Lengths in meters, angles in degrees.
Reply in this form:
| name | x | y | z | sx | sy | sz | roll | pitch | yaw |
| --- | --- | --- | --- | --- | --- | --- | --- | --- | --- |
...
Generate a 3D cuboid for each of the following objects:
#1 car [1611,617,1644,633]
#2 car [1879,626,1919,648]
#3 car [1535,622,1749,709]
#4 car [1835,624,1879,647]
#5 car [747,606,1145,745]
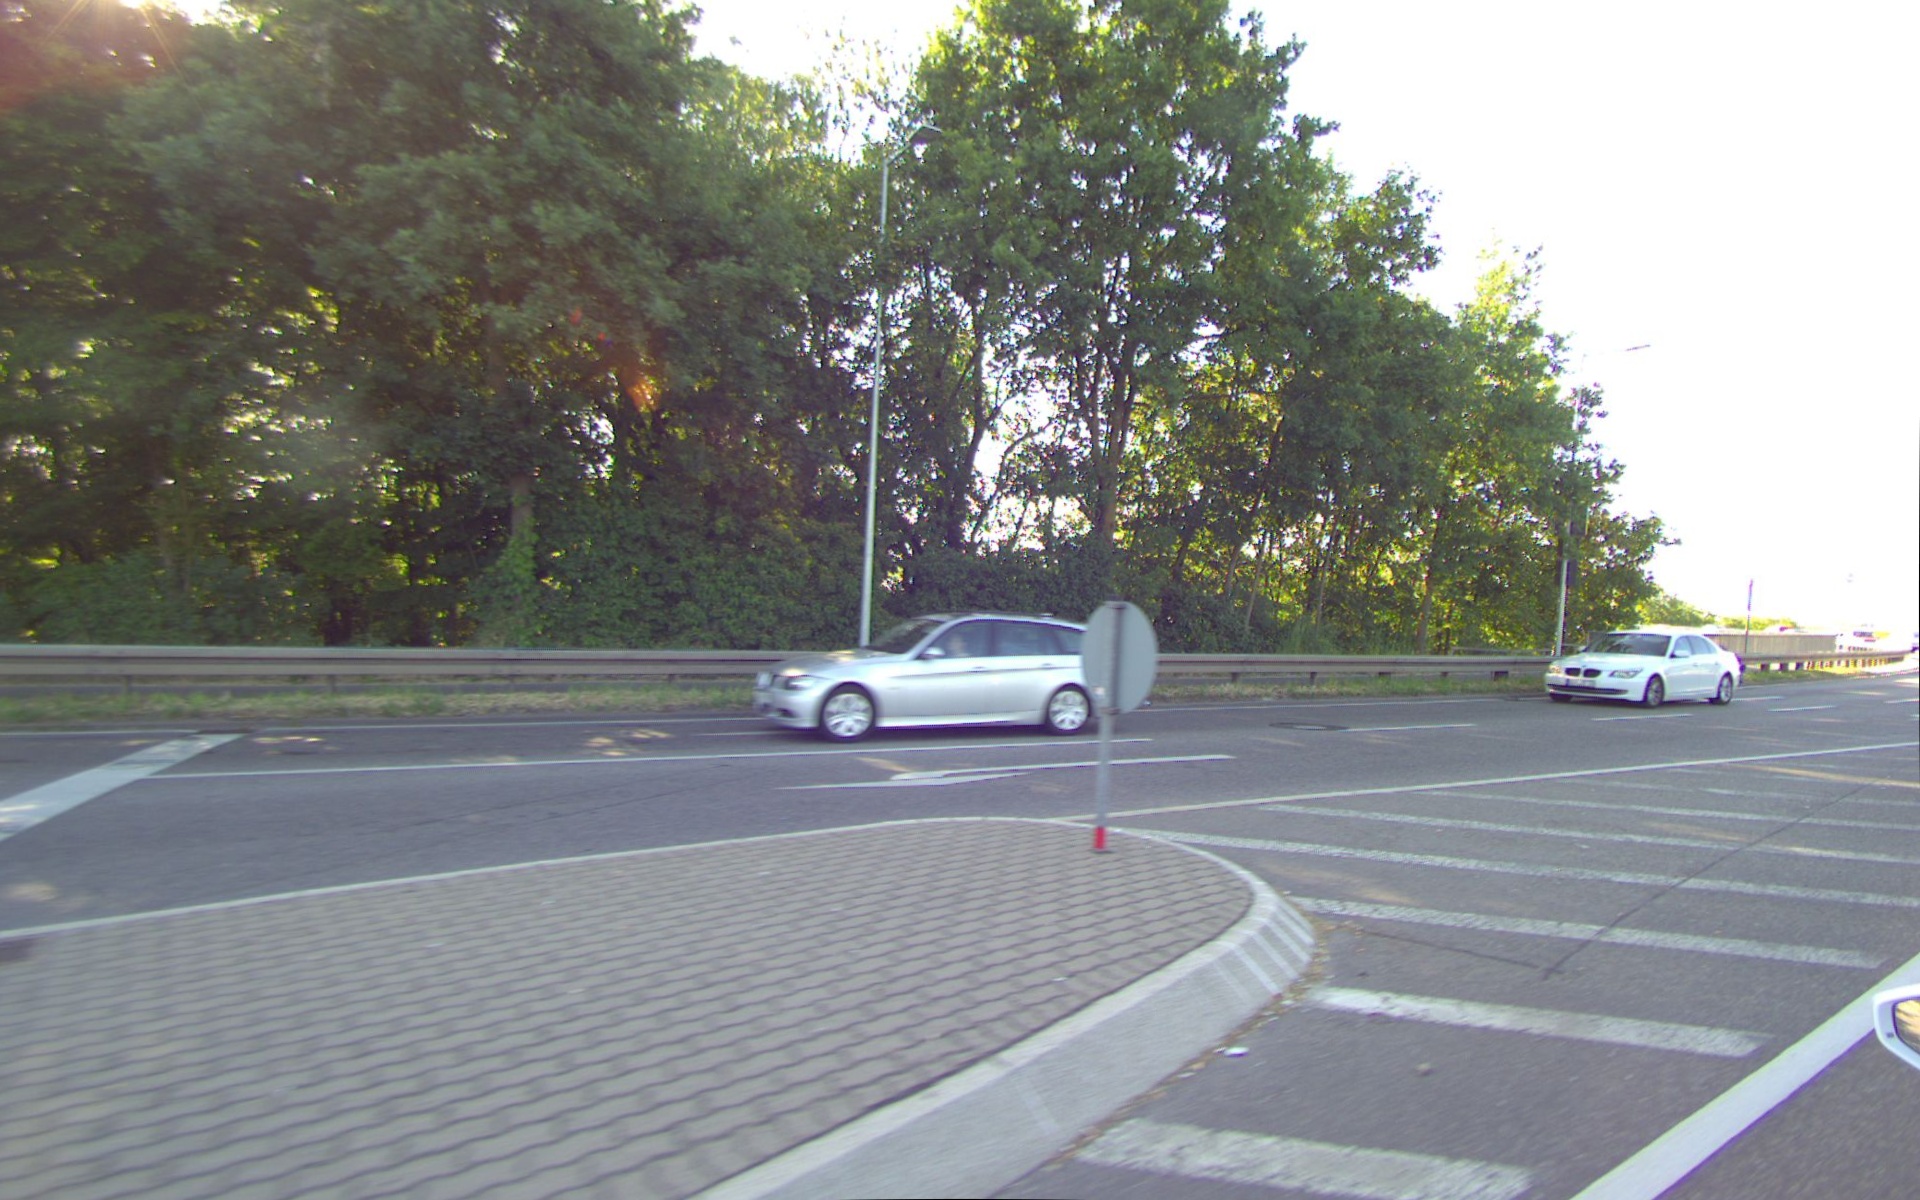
| name | x | y | z | sx | sy | sz | roll | pitch | yaw |
| --- | --- | --- | --- | --- | --- | --- | --- | --- | --- |
| car | 90.369 | 3.355 | 136.098 | 1.923 | 1.976 | 4.001 | 2 | 0 | 3 |
| car | 75.237 | 2.950 | 80.138 | 1.808 | 1.576 | 3.888 | 2 | 0 | 28 |
| car | 13.597 | 1.252 | 19.959 | 4.578 | 1.507 | 1.837 | 2 | 0 | -32 |
| car | 71.006 | 2.789 | 79.587 | 1.778 | 1.659 | 3.992 | 2 | 0 | 30 |
| car | -0.117 | 0.846 | 11.987 | 4.469 | 1.408 | 1.695 | 2 | -1 | -27 |
